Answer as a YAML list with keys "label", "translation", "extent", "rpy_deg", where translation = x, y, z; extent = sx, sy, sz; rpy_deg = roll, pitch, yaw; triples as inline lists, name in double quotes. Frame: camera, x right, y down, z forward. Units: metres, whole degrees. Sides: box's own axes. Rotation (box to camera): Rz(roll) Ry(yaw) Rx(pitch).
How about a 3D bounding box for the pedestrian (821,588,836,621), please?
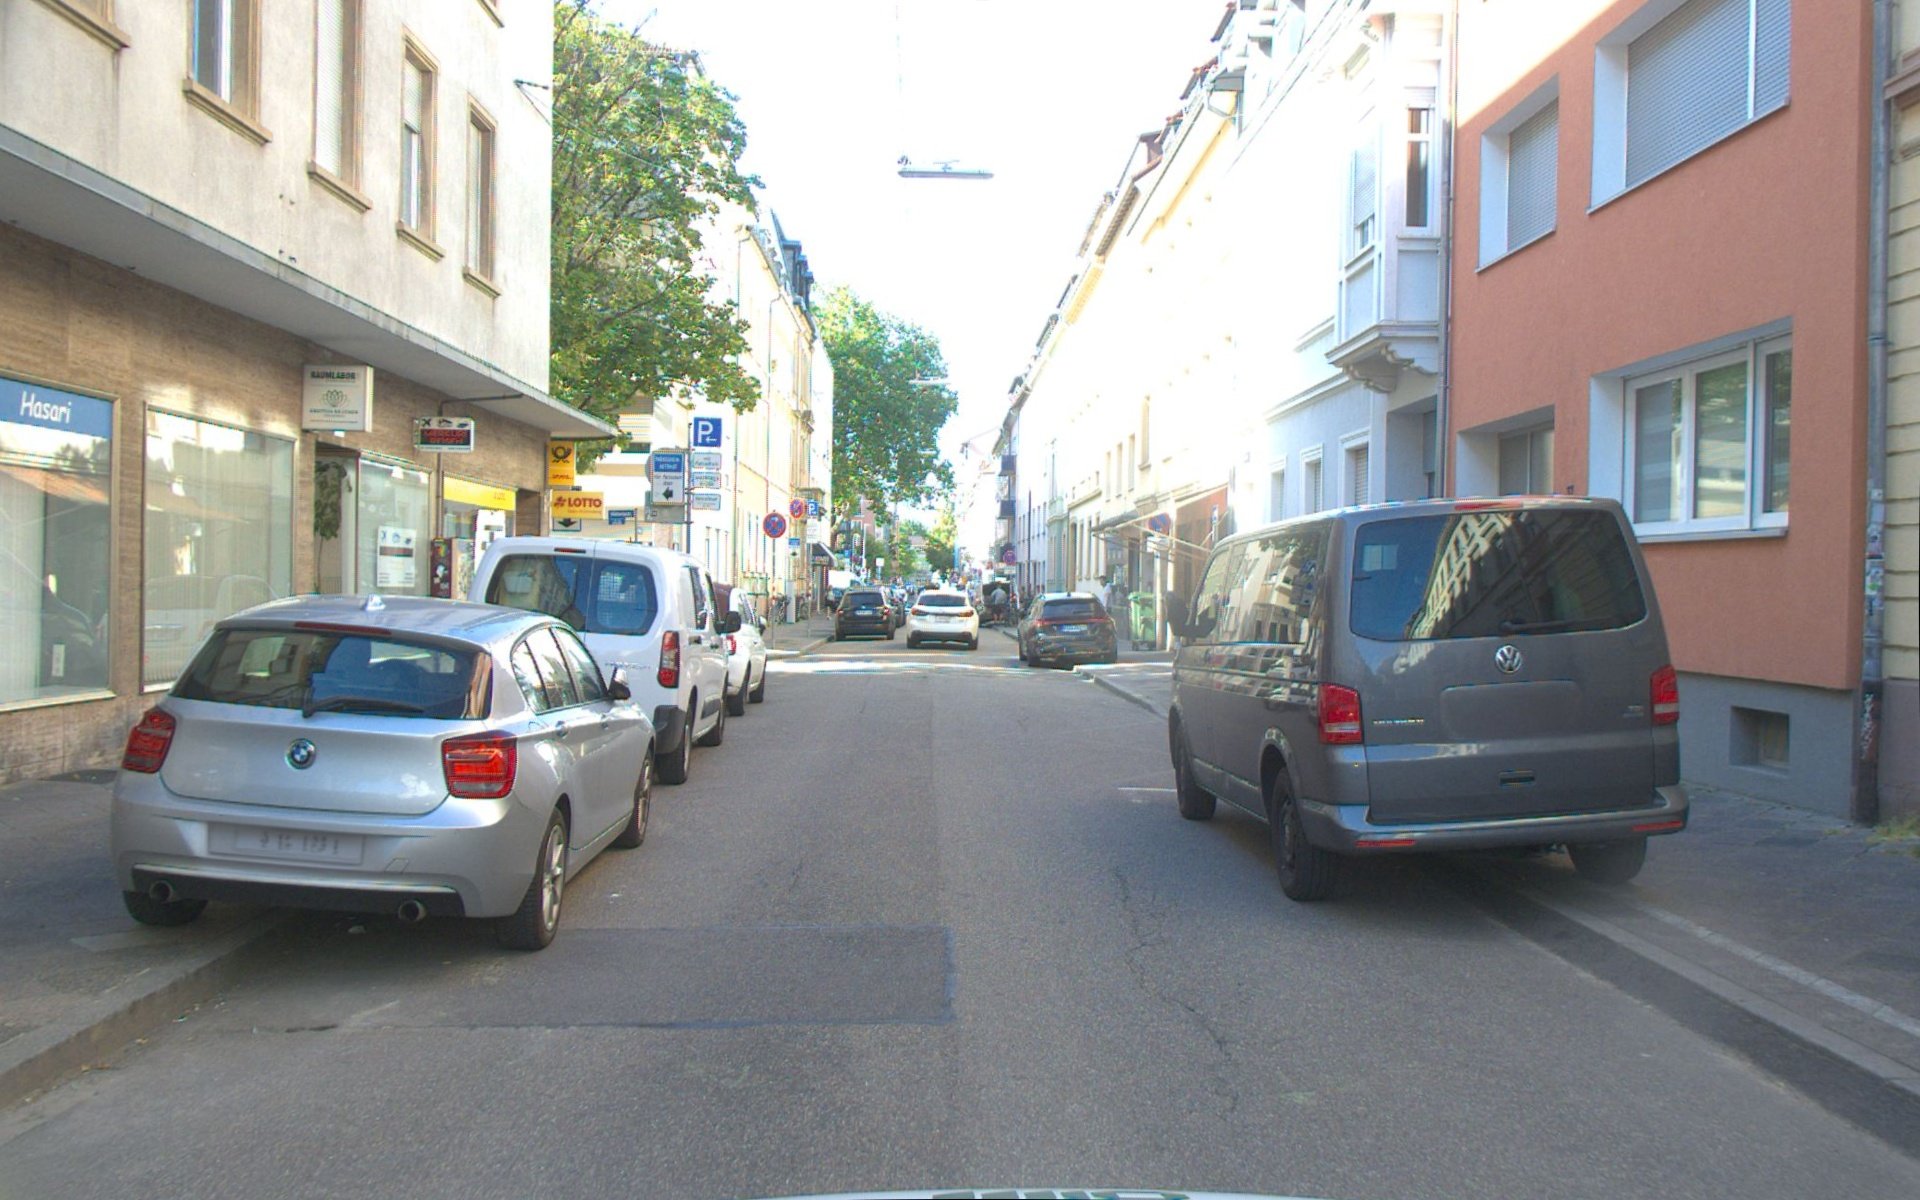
- label: "pedestrian"
  translation: [-5.860, 0.198, 73.937]
  extent: [0.614, 1.490, 0.575]
  rpy_deg: [0, -1, -1]

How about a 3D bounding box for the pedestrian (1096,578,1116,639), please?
- label: "pedestrian"
  translation: [4.240, 0.242, 48.000]
  extent: [0.517, 1.757, 0.490]
  rpy_deg: [0, -1, 14]

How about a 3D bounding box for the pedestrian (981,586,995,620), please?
- label: "pedestrian"
  translation: [1.239, 0.143, 73.433]
  extent: [0.614, 1.490, 0.575]
  rpy_deg: [0, -1, -1]

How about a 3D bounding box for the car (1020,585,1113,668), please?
- label: "car"
  translation: [2.158, 0.509, 34.349]
  extent: [1.613, 1.604, 3.678]
  rpy_deg: [1, 0, -1]

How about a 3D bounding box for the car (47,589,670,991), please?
- label: "car"
  translation: [-2.579, 0.689, 8.147]
  extent: [1.723, 1.440, 3.998]
  rpy_deg: [-1, 1, -2]

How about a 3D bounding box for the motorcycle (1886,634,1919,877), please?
- label: "motorcycle"
  translation: [5.070, 0.777, 7.116]
  extent: [0.584, 1.207, 2.760]
  rpy_deg: [-3, 0, 1]

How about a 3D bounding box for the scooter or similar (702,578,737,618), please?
- label: "scooter or similar"
  translation: [-9.698, -0.076, 66.763]
  extent: [0.501, 1.585, 1.604]
  rpy_deg: [2, 0, 30]

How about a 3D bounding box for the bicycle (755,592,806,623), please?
- label: "bicycle"
  translation: [-6.795, 0.291, 62.626]
  extent: [1.933, 1.134, 0.505]
  rpy_deg: [1, 0, -36]

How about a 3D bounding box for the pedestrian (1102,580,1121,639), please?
- label: "pedestrian"
  translation: [4.570, 0.287, 49.848]
  extent: [0.517, 1.757, 0.490]
  rpy_deg: [0, -1, 14]

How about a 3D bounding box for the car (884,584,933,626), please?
- label: "car"
  translation: [-2.082, 0.194, 66.362]
  extent: [1.830, 1.588, 4.517]
  rpy_deg: [1, 0, -3]

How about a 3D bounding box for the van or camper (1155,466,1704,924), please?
- label: "van or camper"
  translation: [2.430, 0.422, 9.859]
  extent: [1.740, 2.072, 4.567]
  rpy_deg: [-1, 0, -3]

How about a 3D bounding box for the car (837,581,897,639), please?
- label: "car"
  translation: [-2.757, 0.277, 49.410]
  extent: [1.592, 1.625, 3.579]
  rpy_deg: [2, 0, -1]

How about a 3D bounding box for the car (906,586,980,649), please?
- label: "car"
  translation: [-0.419, 0.418, 42.626]
  extent: [1.796, 1.512, 4.057]
  rpy_deg: [1, 0, 0]

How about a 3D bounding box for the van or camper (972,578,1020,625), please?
- label: "van or camper"
  translation: [1.543, 0.092, 71.966]
  extent: [1.953, 1.959, 3.999]
  rpy_deg: [0, -1, -1]

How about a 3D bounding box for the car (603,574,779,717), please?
- label: "car"
  translation: [-3.249, 0.504, 20.601]
  extent: [1.613, 1.604, 3.678]
  rpy_deg: [1, 0, -1]

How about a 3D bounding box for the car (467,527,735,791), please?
- label: "car"
  translation: [-2.880, 0.421, 14.040]
  extent: [1.614, 1.900, 3.997]
  rpy_deg: [1, 0, -4]
